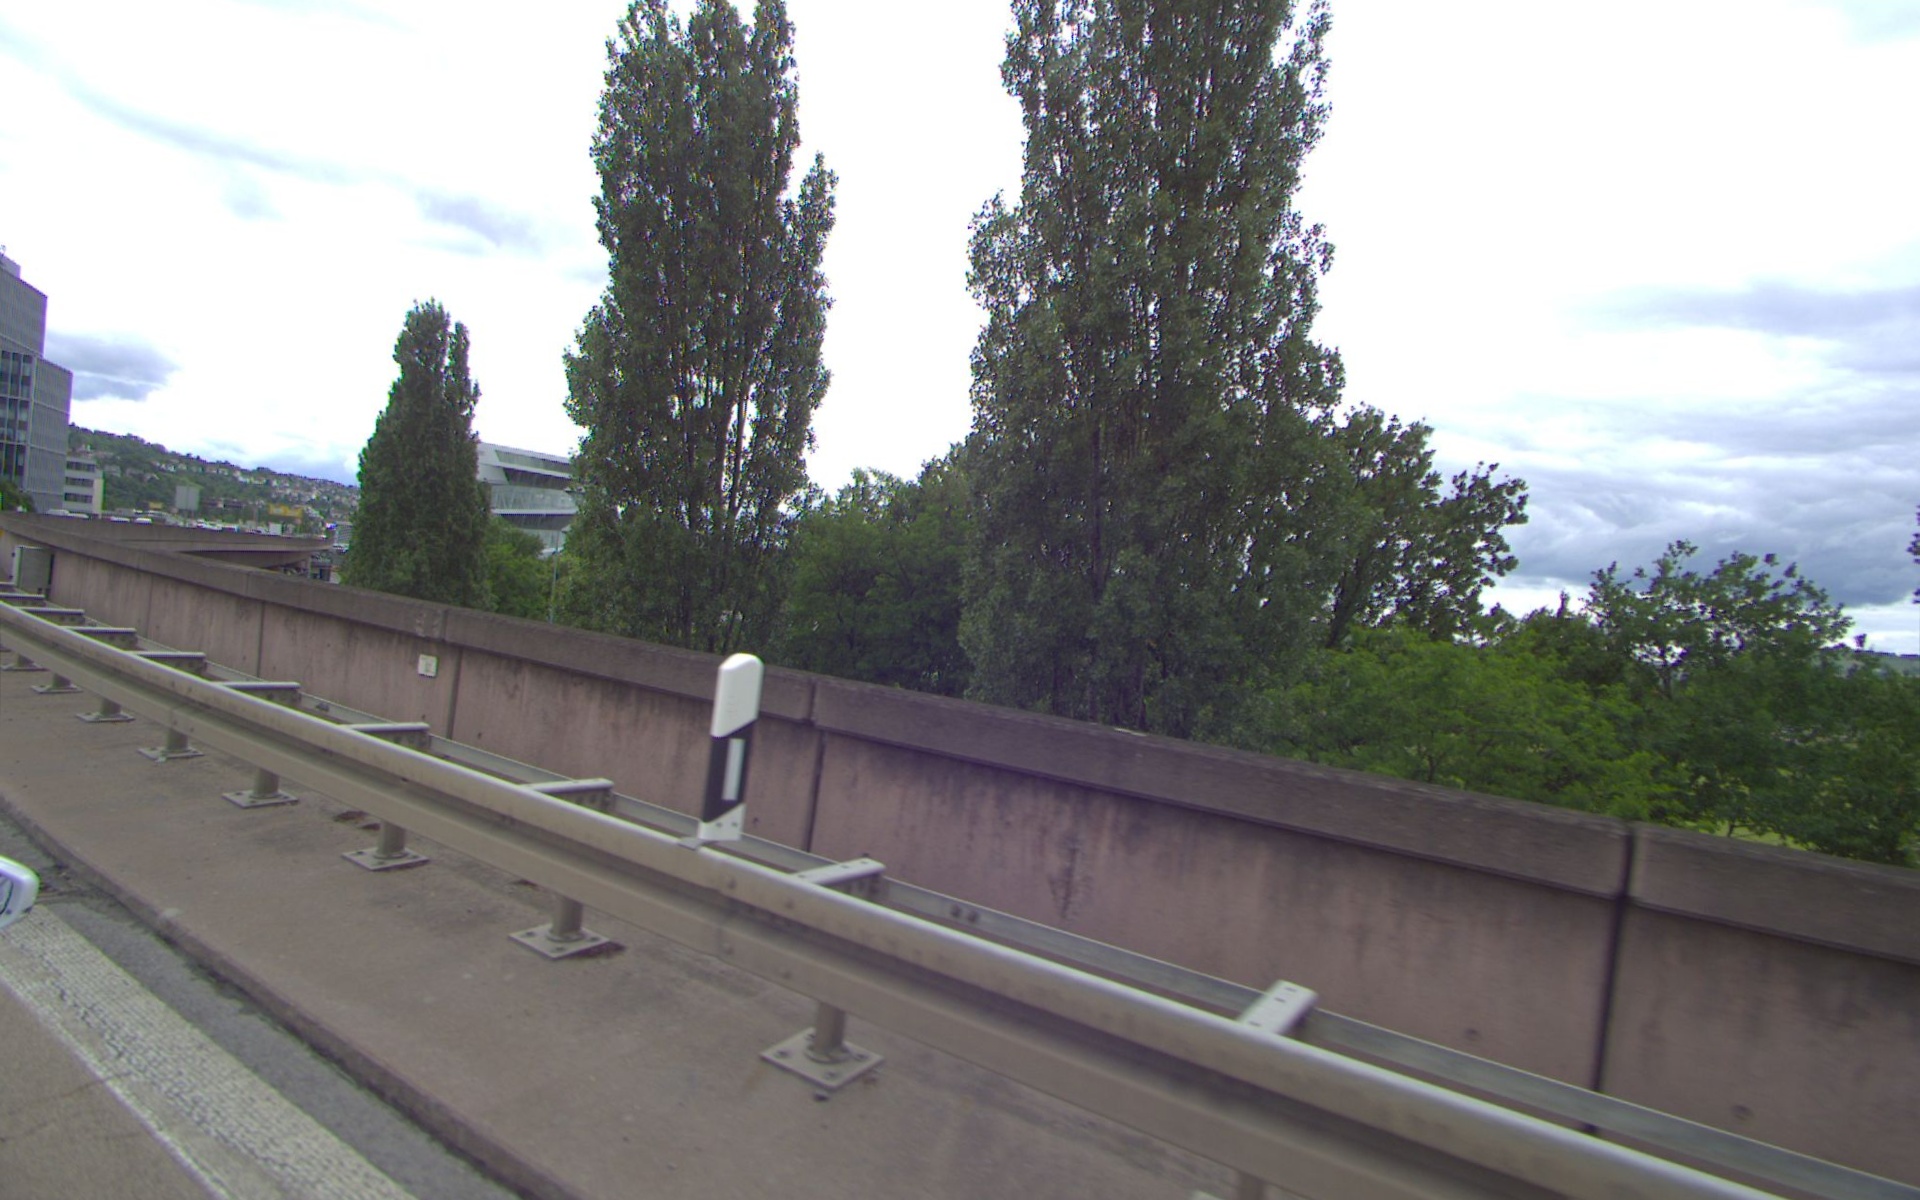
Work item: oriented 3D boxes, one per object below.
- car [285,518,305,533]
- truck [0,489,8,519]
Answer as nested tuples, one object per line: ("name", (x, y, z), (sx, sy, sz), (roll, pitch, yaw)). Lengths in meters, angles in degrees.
("car", (-87.646, -9.763, 132.558), (1.679, 1.570, 3.620), (6, -1, -26))
("truck", (-87.660, -8.778, 89.248), (2.468, 2.659, 7.301), (6, 0, -26))
